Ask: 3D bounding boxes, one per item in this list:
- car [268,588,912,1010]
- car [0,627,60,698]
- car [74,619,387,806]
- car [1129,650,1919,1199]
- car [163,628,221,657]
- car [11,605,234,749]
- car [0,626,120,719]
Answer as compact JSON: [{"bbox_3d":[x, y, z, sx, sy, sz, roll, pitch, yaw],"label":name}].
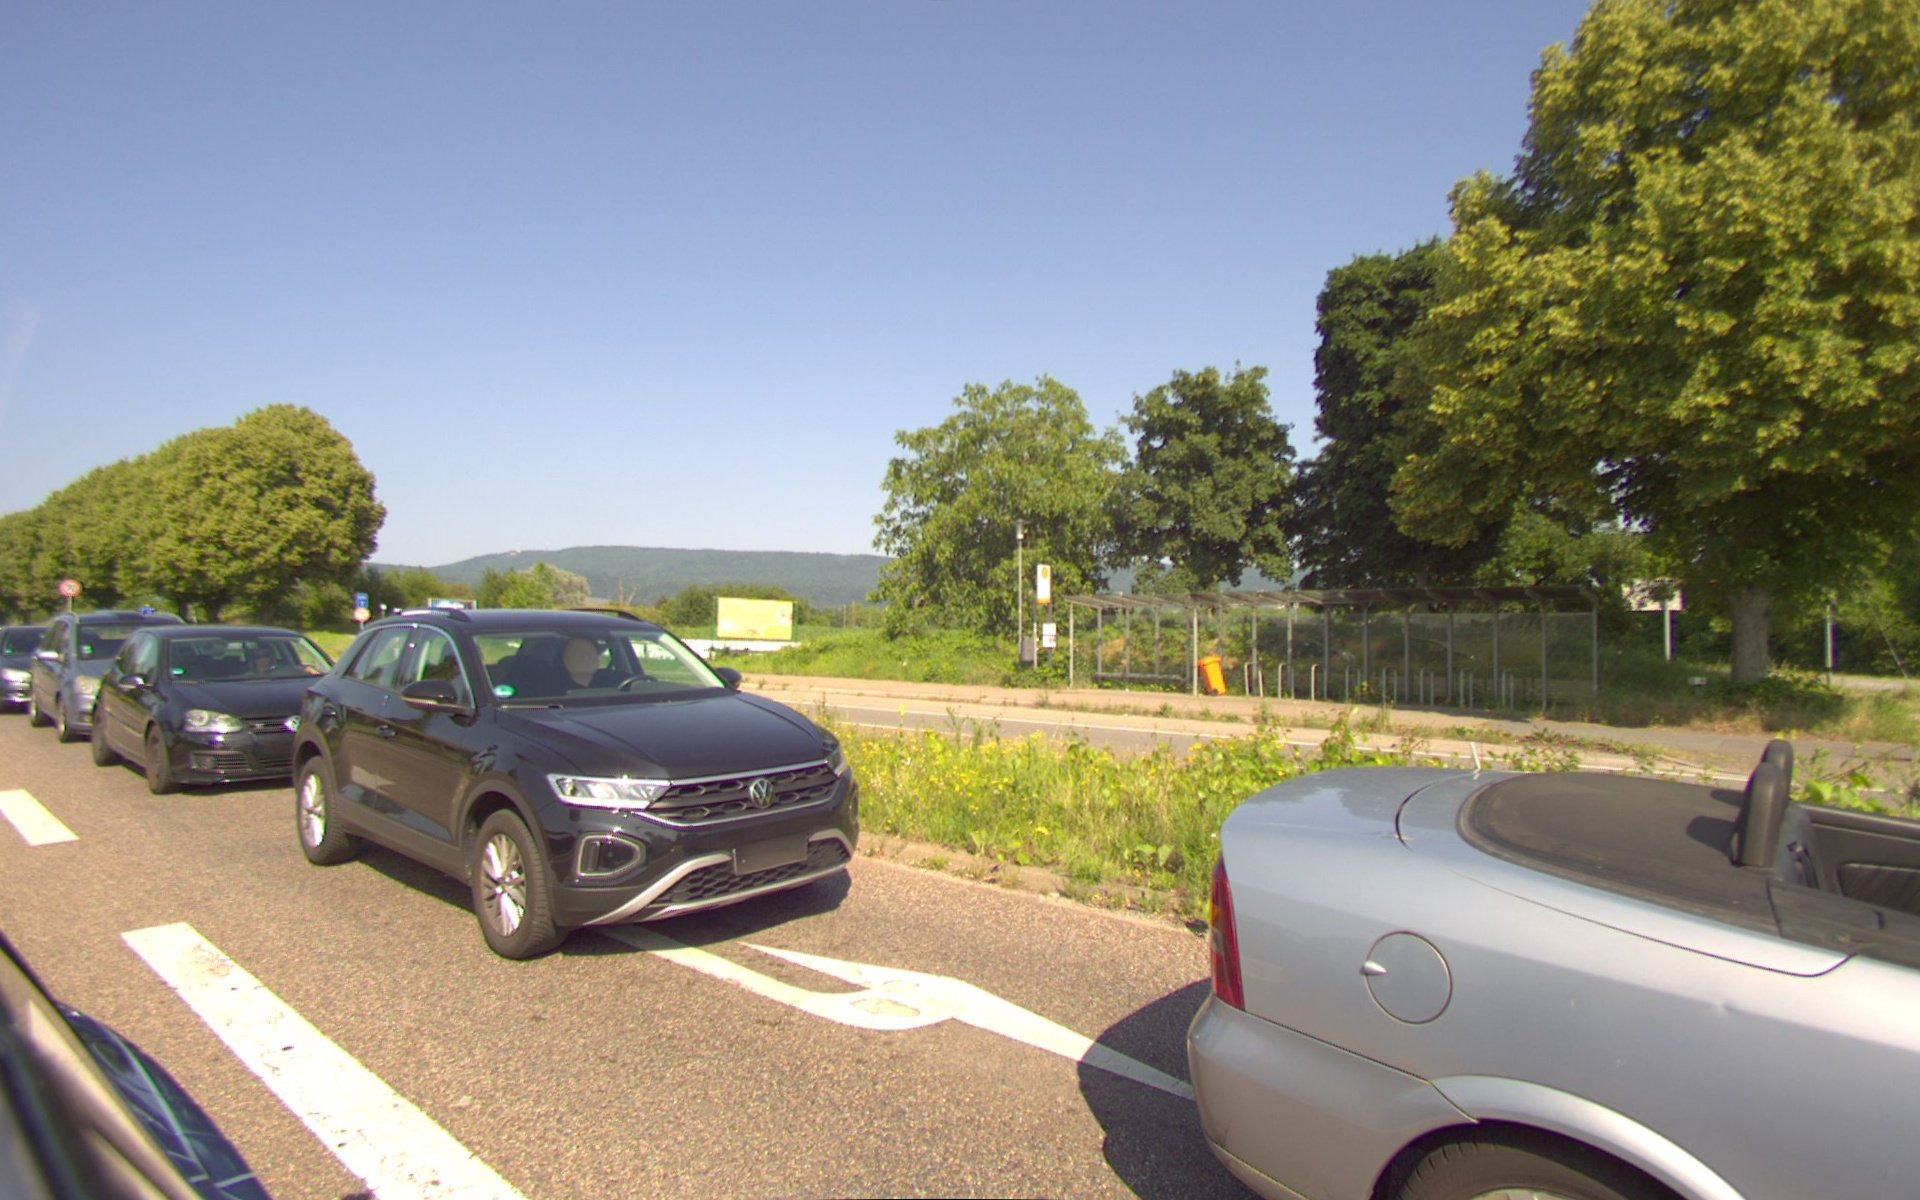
[{"bbox_3d":[-2.332,0.790,5.763,4.096,1.559,1.710,-2,-2,42],"label":"car"},{"bbox_3d":[-21.387,1.320,22.288,4.639,1.436,1.784,-1,-1,41],"label":"car"},{"bbox_3d":[-7.329,0.947,10.016,4.096,1.486,1.648,-2,-2,42],"label":"car"},{"bbox_3d":[2.434,0.778,1.438,4.096,1.345,1.656,-1,-3,42],"label":"car"},{"bbox_3d":[-40.648,2.216,53.539,3.773,1.453,1.598,-1,-4,40],"label":"car"},{"bbox_3d":[-11.607,0.950,13.926,4.355,1.685,1.723,-2,-2,42],"label":"car"},{"bbox_3d":[-16.203,1.193,17.694,4.353,1.421,1.696,-2,-1,42],"label":"car"}]
